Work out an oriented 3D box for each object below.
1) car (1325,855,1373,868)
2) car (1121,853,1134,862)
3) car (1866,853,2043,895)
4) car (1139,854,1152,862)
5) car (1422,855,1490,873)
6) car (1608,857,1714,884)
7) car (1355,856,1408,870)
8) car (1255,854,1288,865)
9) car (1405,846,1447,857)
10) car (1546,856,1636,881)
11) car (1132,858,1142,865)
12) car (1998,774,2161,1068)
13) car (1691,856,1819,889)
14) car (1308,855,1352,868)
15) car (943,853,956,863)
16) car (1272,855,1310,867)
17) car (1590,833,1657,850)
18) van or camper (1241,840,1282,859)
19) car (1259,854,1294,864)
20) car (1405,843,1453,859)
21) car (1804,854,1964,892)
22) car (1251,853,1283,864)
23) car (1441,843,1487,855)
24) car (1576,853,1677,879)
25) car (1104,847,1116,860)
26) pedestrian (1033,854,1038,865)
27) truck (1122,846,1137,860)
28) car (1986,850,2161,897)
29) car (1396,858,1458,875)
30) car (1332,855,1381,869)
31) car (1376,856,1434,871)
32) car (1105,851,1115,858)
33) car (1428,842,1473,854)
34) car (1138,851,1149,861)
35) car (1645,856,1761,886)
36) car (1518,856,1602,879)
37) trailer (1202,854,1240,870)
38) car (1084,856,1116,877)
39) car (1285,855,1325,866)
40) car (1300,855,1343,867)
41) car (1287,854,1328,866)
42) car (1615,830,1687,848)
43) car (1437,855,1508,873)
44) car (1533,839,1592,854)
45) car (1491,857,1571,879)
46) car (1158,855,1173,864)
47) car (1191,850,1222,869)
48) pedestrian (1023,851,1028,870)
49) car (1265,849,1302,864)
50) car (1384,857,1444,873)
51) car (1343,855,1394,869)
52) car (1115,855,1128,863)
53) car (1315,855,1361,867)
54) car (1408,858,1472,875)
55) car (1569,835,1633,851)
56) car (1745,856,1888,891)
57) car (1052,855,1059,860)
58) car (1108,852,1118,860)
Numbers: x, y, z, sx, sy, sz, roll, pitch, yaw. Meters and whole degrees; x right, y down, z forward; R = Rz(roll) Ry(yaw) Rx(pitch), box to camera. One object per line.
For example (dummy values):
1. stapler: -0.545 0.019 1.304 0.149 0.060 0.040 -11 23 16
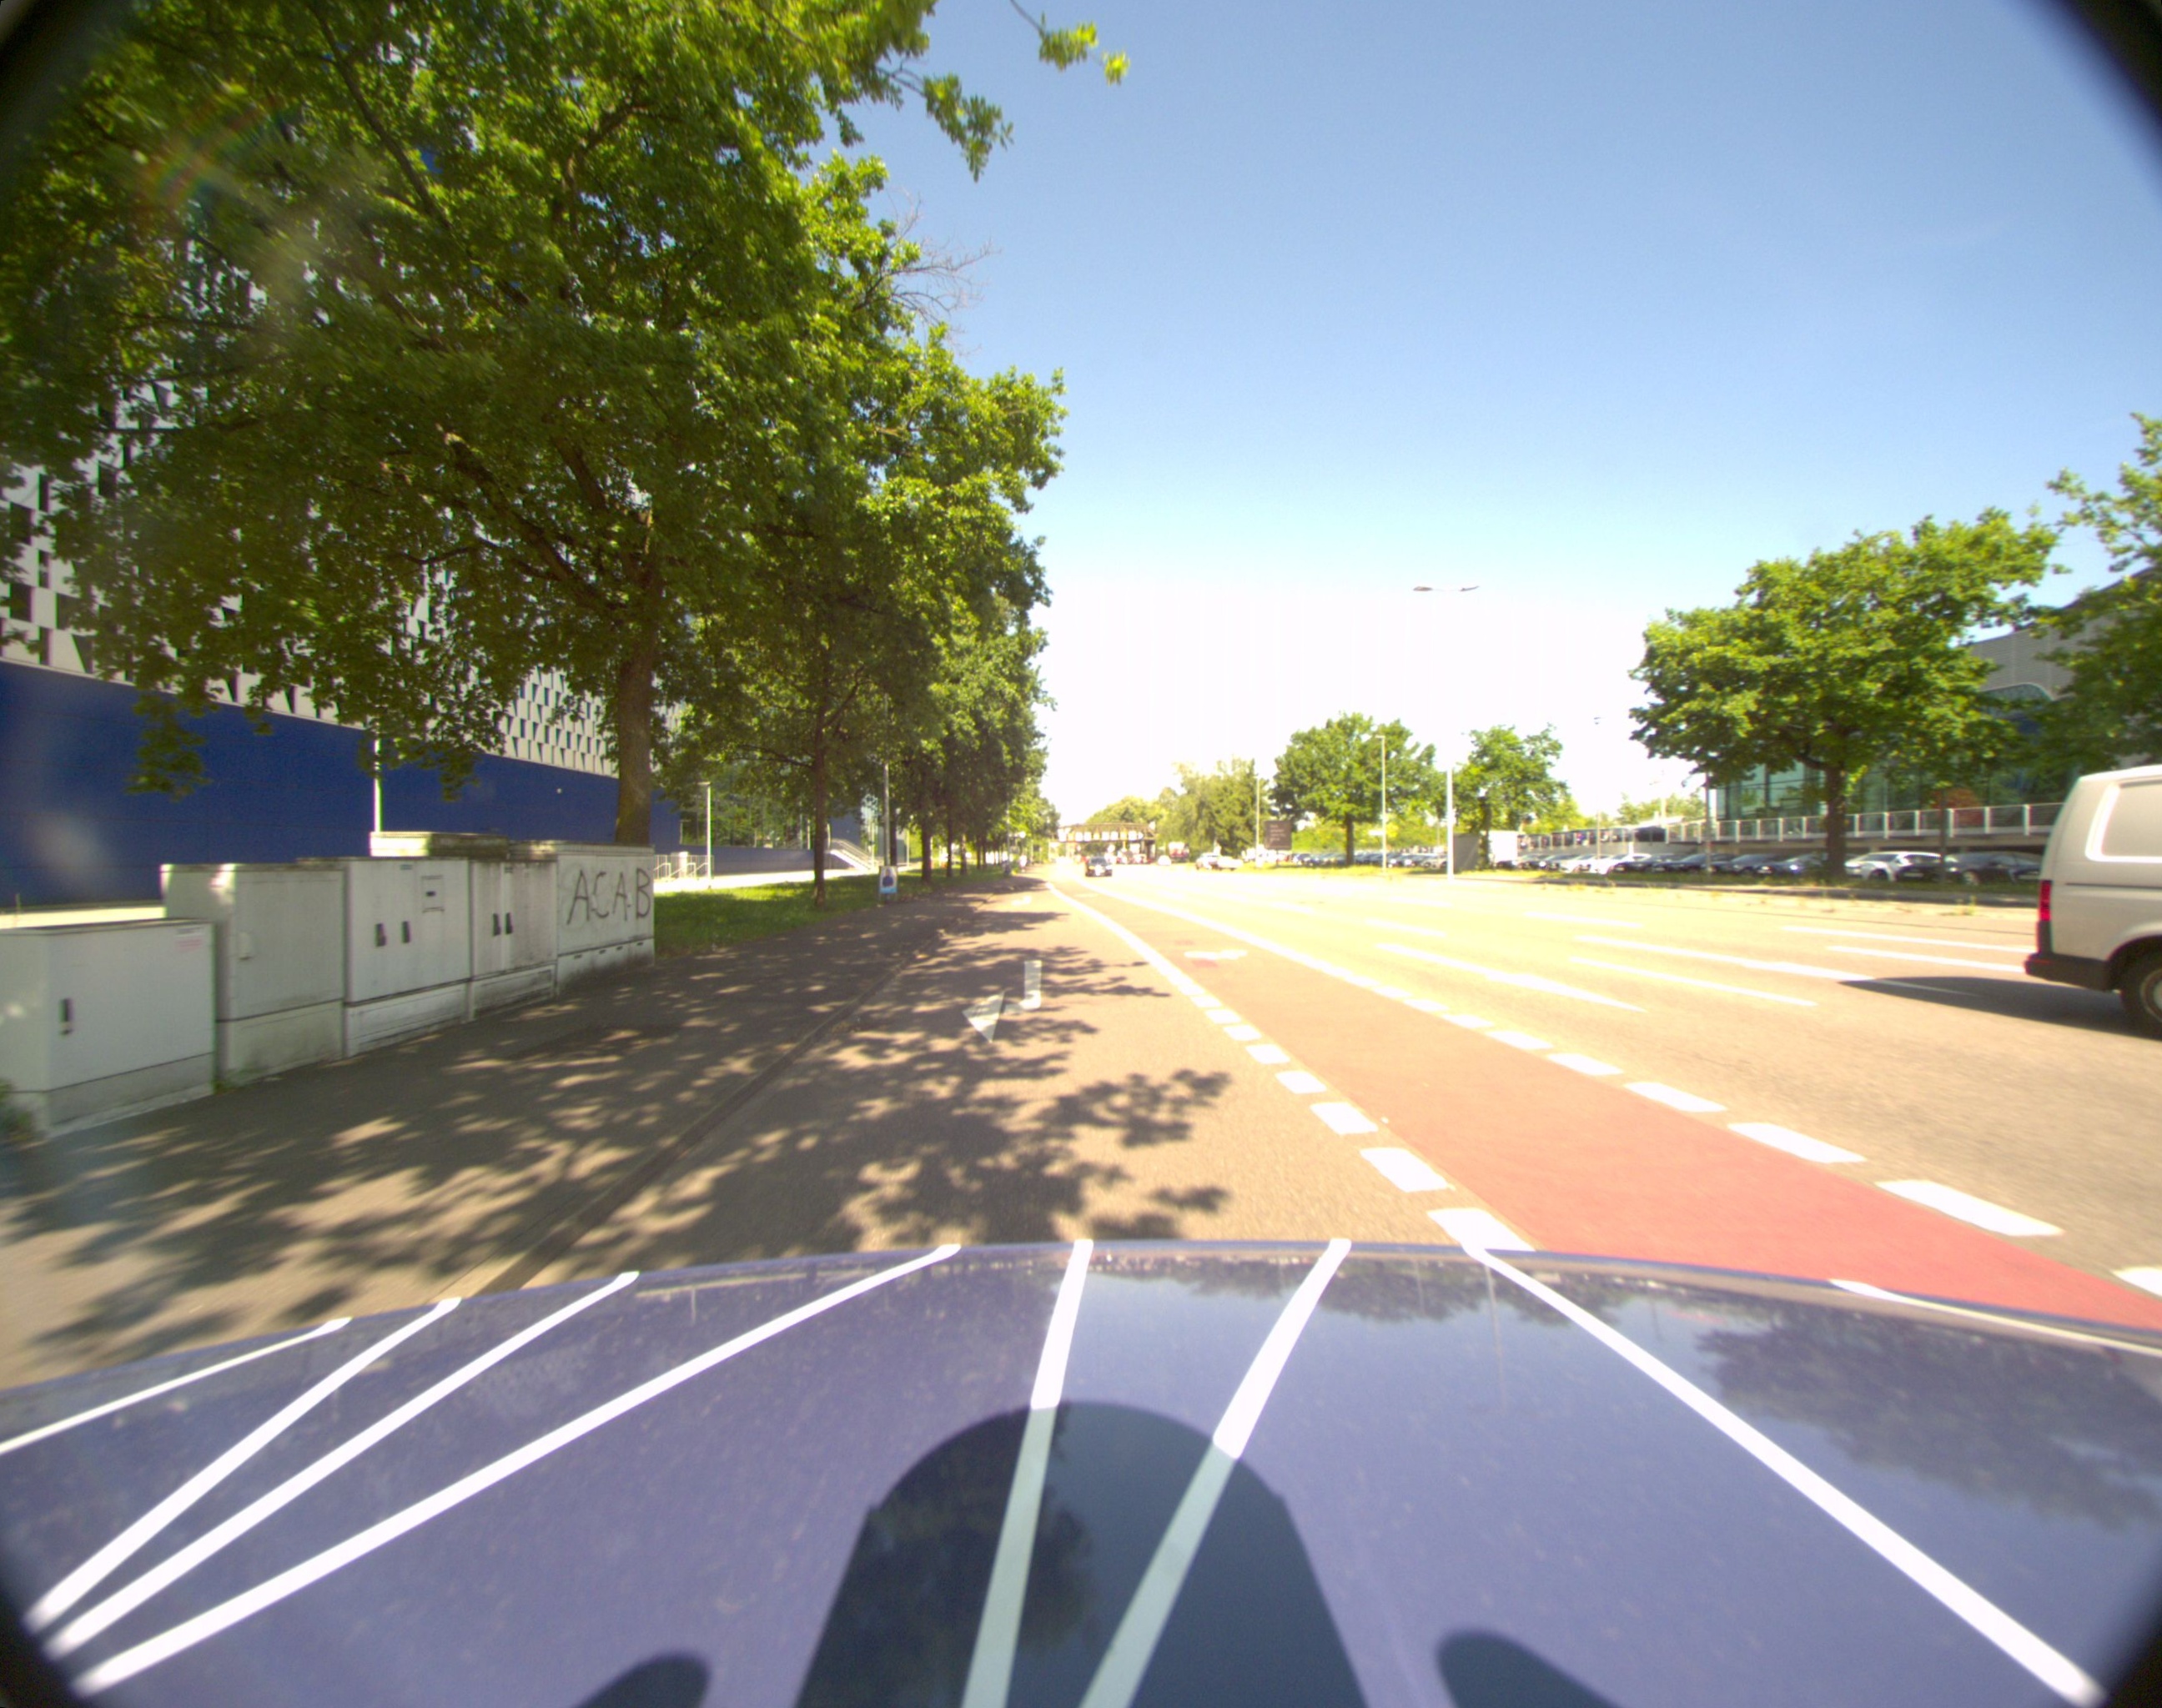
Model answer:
1. car: 27.942 0.736 79.353 4.277 1.342 1.954 0 0 0
2. car: 8.040 0.646 131.821 1.788 1.406 3.999 2 0 -3
3. car: 29.930 0.672 26.121 3.998 1.368 1.924 0 0 -2
4. car: 12.273 0.713 144.965 1.999 1.405 4.680 0 0 -2
5. car: 28.792 0.788 58.411 4.277 1.342 1.954 0 0 0
6. car: 29.441 0.830 38.640 3.998 1.368 1.924 0 0 -2
7. car: 28.311 0.837 71.707 4.277 1.342 1.954 0 0 0
8. car: 25.896 0.735 103.205 4.096 1.346 1.744 0 1 3
9. car: 42.758 -0.315 94.256 4.277 1.342 1.953 0 0 -2
10. car: 29.300 0.827 43.730 3.998 1.368 1.865 0 0 -2
11. car: 11.874 1.613 160.938 1.773 1.485 4.177 1 -1 -2
12. car: 8.279 0.442 3.558 1.887 1.982 4.974 0 0 -2
13. car: 29.497 0.790 33.347 3.998 1.368 1.924 0 0 -2
14. car: 27.677 0.819 84.516 4.277 1.342 1.954 0 0 0
15. car: -24.045 0.679 138.908 1.911 1.818 4.178 0 0 -6
16. car: 26.380 0.822 95.682 4.277 1.495 1.954 0 0 0
17. car: 45.026 -1.035 63.113 4.277 1.342 1.953 0 0 -2
18. van or camper: 25.973 -0.630 109.517 5.394 2.456 2.000 -2 -1 -5
19. car: 25.755 0.703 100.253 4.097 1.285 1.743 0 0 0
20. car: 37.883 -0.311 82.727 4.277 1.633 1.954 0 0 0
21. car: 29.683 0.673 28.162 3.998 1.368 1.924 0 0 -2
22. car: 25.764 0.656 105.375 4.096 1.430 1.744 0 0 3
23. car: 43.698 -0.619 86.744 4.277 1.342 1.953 0 0 -2
24. car: 29.452 0.631 41.135 4.053 1.368 2.025 0 0 -2
25. car: 6.473 -0.153 169.330 1.999 2.788 6.935 2 0 -4
26. pedestrian: -6.814 0.832 113.586 0.648 1.594 0.846 0 0 -2
27. truck: 11.040 -0.242 175.088 2.348 3.070 7.066 0 0 -6
28. car: 30.459 0.578 22.986 3.998 1.368 1.924 0 0 -2
29. car: 28.607 1.006 62.953 4.277 1.342 1.954 0 0 0
30. car: 27.858 0.811 76.831 4.277 1.342 1.954 0 0 0
31. car: 28.698 0.843 67.391 4.277 1.342 1.954 0 0 0
32. car: 6.106 0.140 161.401 1.773 1.485 4.177 1 -1 -2
33. car: 43.474 -0.731 89.470 4.277 1.342 1.953 0 0 -2
34. car: 12.647 0.382 153.497 1.998 2.002 5.348 0 0 2
35. car: 29.446 0.778 36.047 3.998 1.368 1.924 0 0 -2
36. car: 29.113 0.793 46.266 3.998 1.368 1.865 0 0 -2
37. trailer: 12.946 0.733 70.612 1.999 1.444 5.769 0 0 -5
38. car: 1.347 0.877 56.334 1.911 1.511 4.372 0 0 -4
39. car: 27.308 0.800 92.571 4.277 1.320 1.954 0 0 0
40. car: 27.509 0.823 87.084 4.277 1.342 1.954 0 0 0
41. car: 26.638 0.744 89.418 4.277 1.373 1.954 0 0 0
42. car: 45.166 -1.158 60.293 4.277 1.342 1.953 0 0 -2
43. car: 28.836 0.721 56.048 4.277 1.342 1.954 0 0 0
44. car: 44.849 -0.691 70.853 4.277 1.342 1.953 0 0 -2
45. car: 28.931 0.879 48.968 3.998 1.368 2.000 0 0 -2
46. car: 13.506 0.838 121.200 1.658 1.455 3.548 1 0 -5
47. car: 12.509 0.570 76.014 1.999 1.822 4.935 0 0 -5
48. pedestrian: -5.510 0.646 75.314 0.536 1.831 0.727 0 0 -2
49. car: 26.092 0.366 97.967 4.277 1.873 1.954 0 0 0
50. car: 28.585 0.923 65.314 4.277 1.342 1.954 0 0 0
51. car: 27.974 0.800 74.091 4.277 1.342 1.954 0 0 0
52. car: 7.548 0.882 141.250 1.846 1.455 4.999 2 0 -2
53. car: 27.698 0.762 81.926 4.277 1.342 1.954 0 0 0
54. car: 28.676 0.996 60.778 4.277 1.342 1.954 0 0 0
55. car: 45.026 -0.910 65.827 4.277 1.342 1.953 0 0 -2
56. car: 29.541 0.764 30.594 3.998 1.368 1.924 0 0 -2
57. car: -8.111 1.091 242.064 1.824 1.346 3.998 0 0 -6
58. car: 6.468 0.410 153.651 1.647 1.485 3.828 1 -1 -3
